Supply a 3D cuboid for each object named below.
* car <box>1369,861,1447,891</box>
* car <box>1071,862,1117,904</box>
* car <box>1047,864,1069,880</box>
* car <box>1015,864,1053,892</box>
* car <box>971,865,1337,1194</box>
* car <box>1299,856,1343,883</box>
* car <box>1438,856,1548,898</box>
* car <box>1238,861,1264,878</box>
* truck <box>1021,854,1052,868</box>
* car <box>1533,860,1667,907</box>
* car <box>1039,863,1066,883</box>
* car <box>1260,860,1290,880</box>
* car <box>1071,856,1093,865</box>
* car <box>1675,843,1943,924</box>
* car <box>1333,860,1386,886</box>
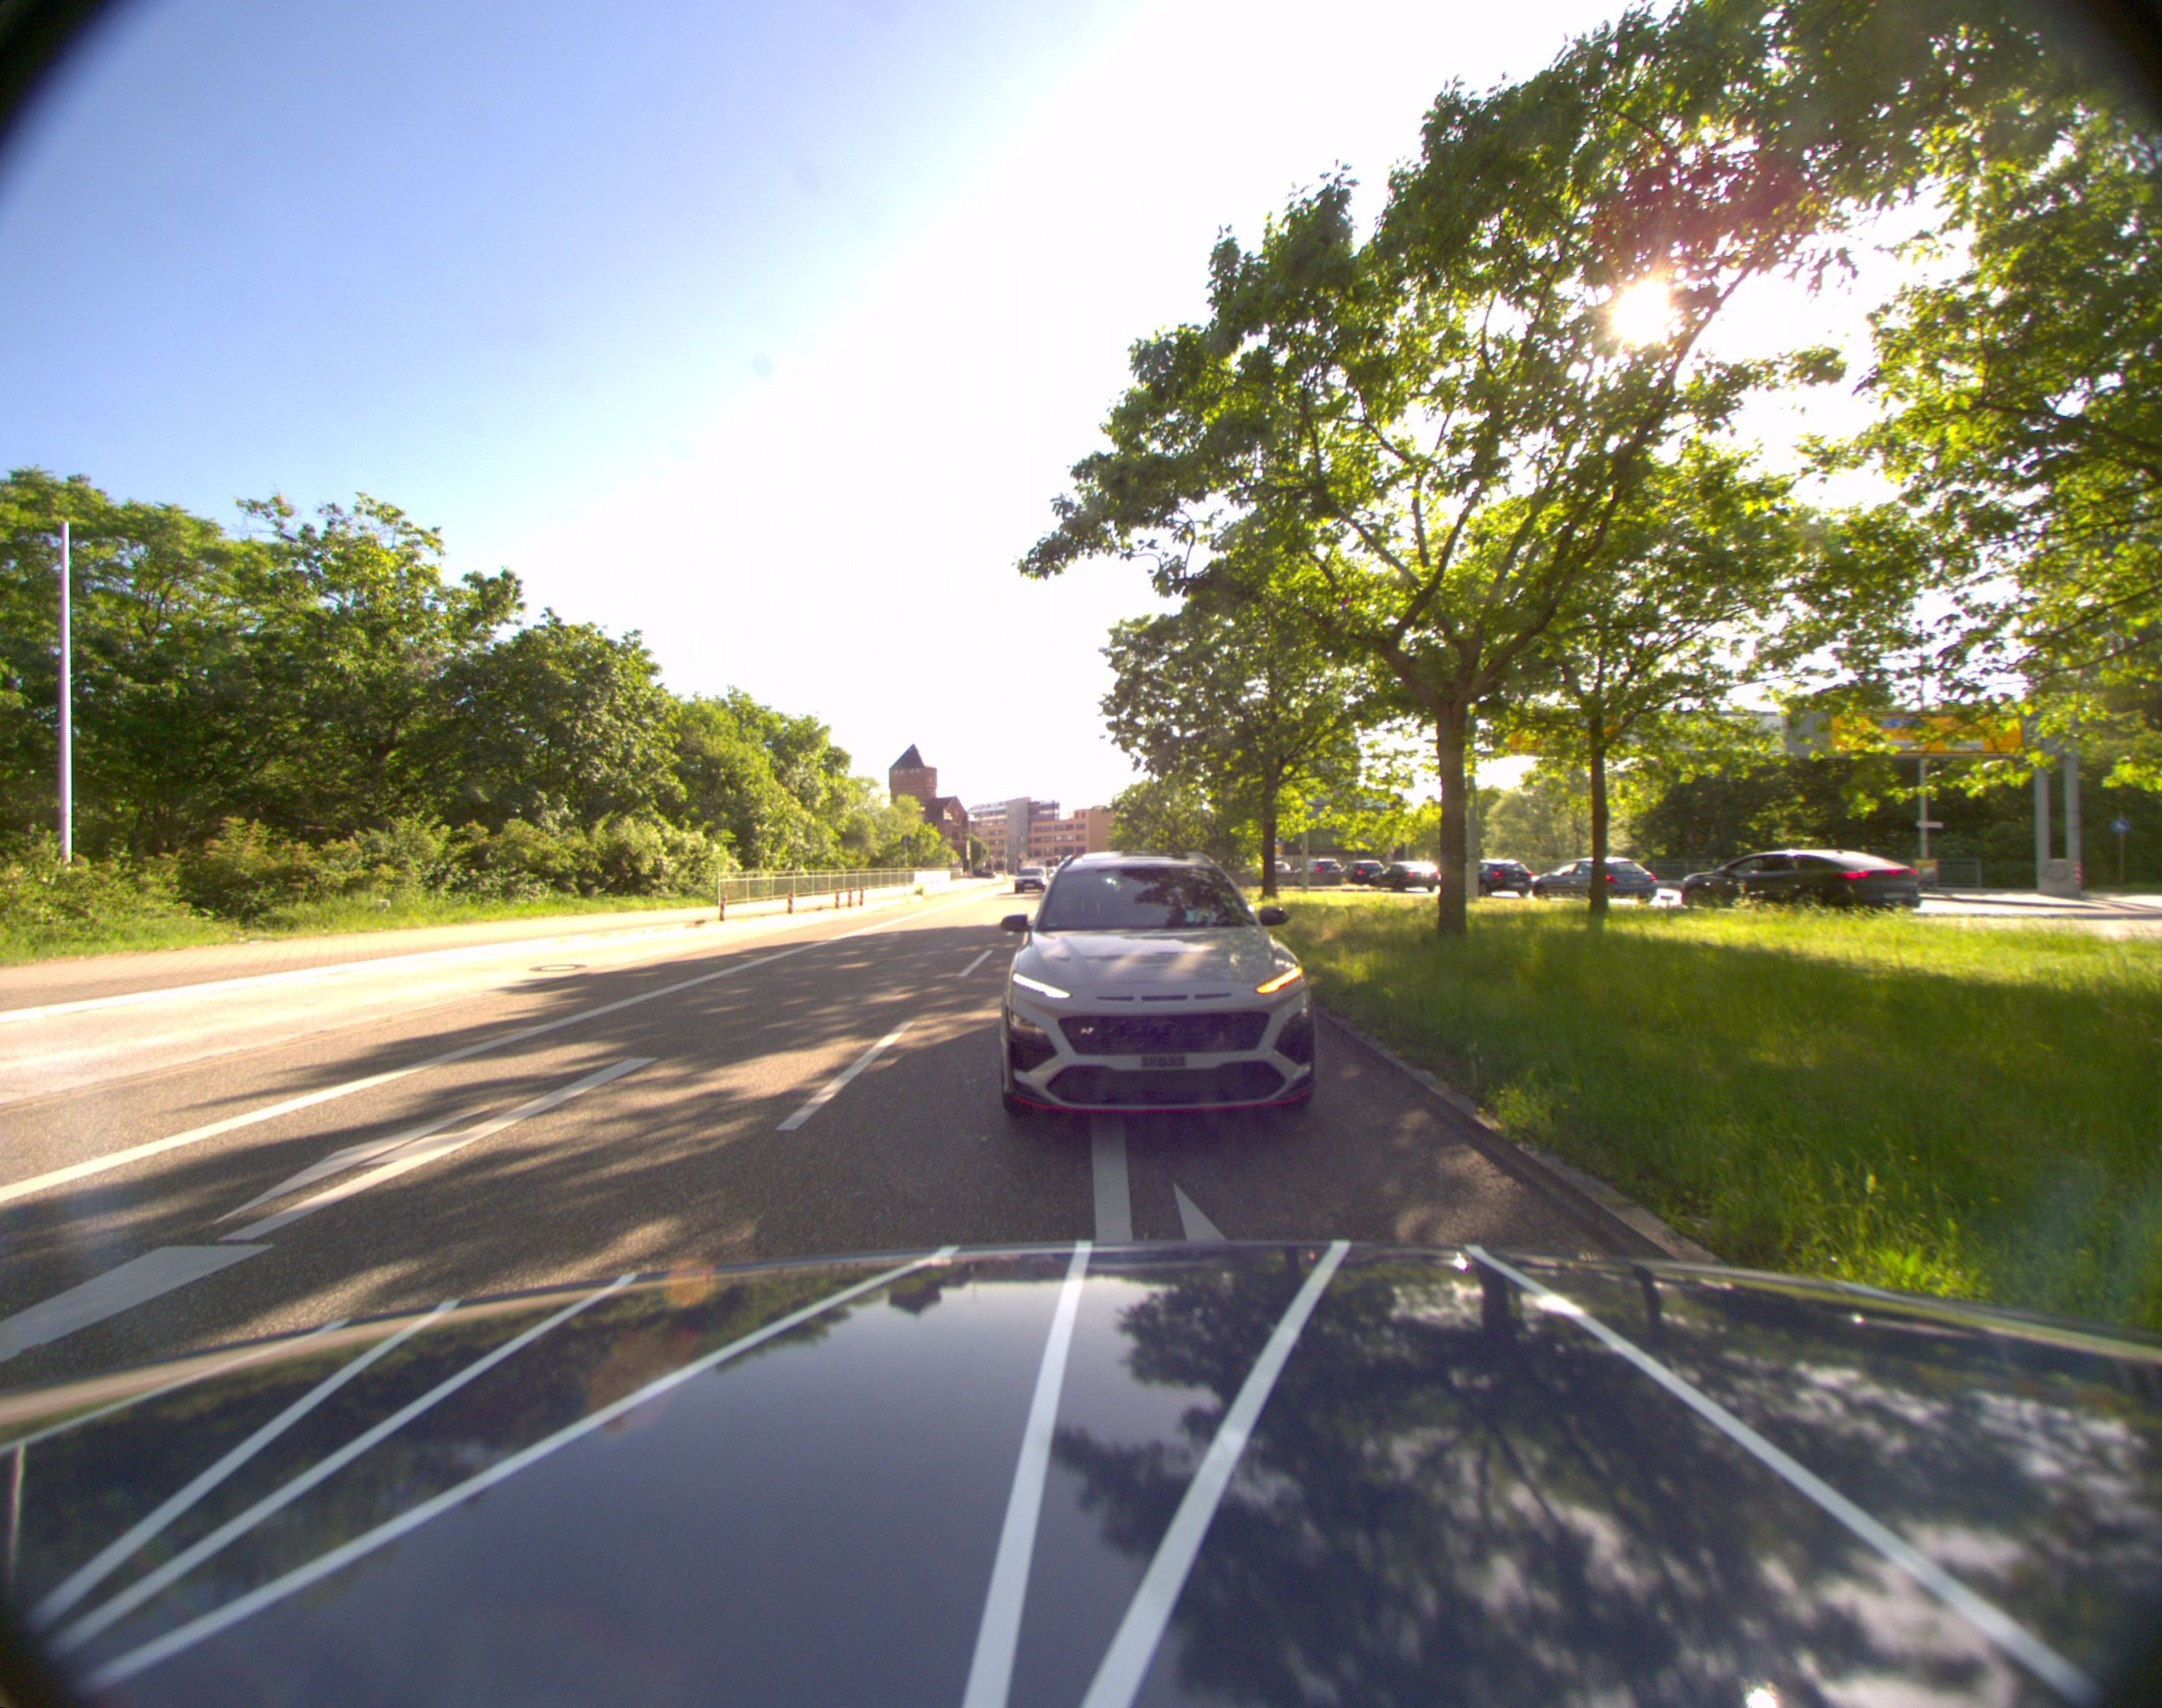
[{"bbox_3d":[15.471,1.003,36.213,1.623,1.305,4.066,-1,0,-6],"label":"car"},{"bbox_3d":[0.502,1.096,30.149,1.677,1.463,4.151,-1,0,1],"label":"car"},{"bbox_3d":[-2.033,1.629,69.050,1.785,1.411,4.001,-1,-1,1],"label":"car"},{"bbox_3d":[-2.551,1.297,42.385,1.776,1.395,4.318,-1,0,1],"label":"car"},{"bbox_3d":[0.382,0.886,5.679,1.752,1.523,3.988,-1,0,1],"label":"car"},{"bbox_3d":[14.964,0.999,47.558,1.450,1.549,3.202,-1,-2,-6],"label":"car"},{"bbox_3d":[16.183,0.852,30.140,1.875,1.541,4.221,-1,0,-4],"label":"car"},{"bbox_3d":[13.941,1.288,62.317,1.199,1.252,2.768,-1,-2,-6],"label":"car"},{"bbox_3d":[-11.136,1.739,189.212,3.535,3.231,9.141,-1,0,-36],"label":"truck"},{"bbox_3d":[16.388,0.887,24.212,1.561,1.355,3.608,-1,-1,-6],"label":"car"},{"bbox_3d":[-2.104,1.428,57.307,1.785,1.411,4.001,-1,-1,1],"label":"car"},{"bbox_3d":[14.315,1.215,56.143,1.228,1.331,2.882,-1,-3,-6],"label":"car"},{"bbox_3d":[0.255,1.497,170.394,2.177,2.001,5.400,-1,0,-36],"label":"car"},{"bbox_3d":[16.781,0.611,17.906,1.832,1.638,4.458,-1,0,-5],"label":"car"},{"bbox_3d":[15.147,1.039,41.469,1.481,1.331,3.202,-1,-1,-6],"label":"car"}]
